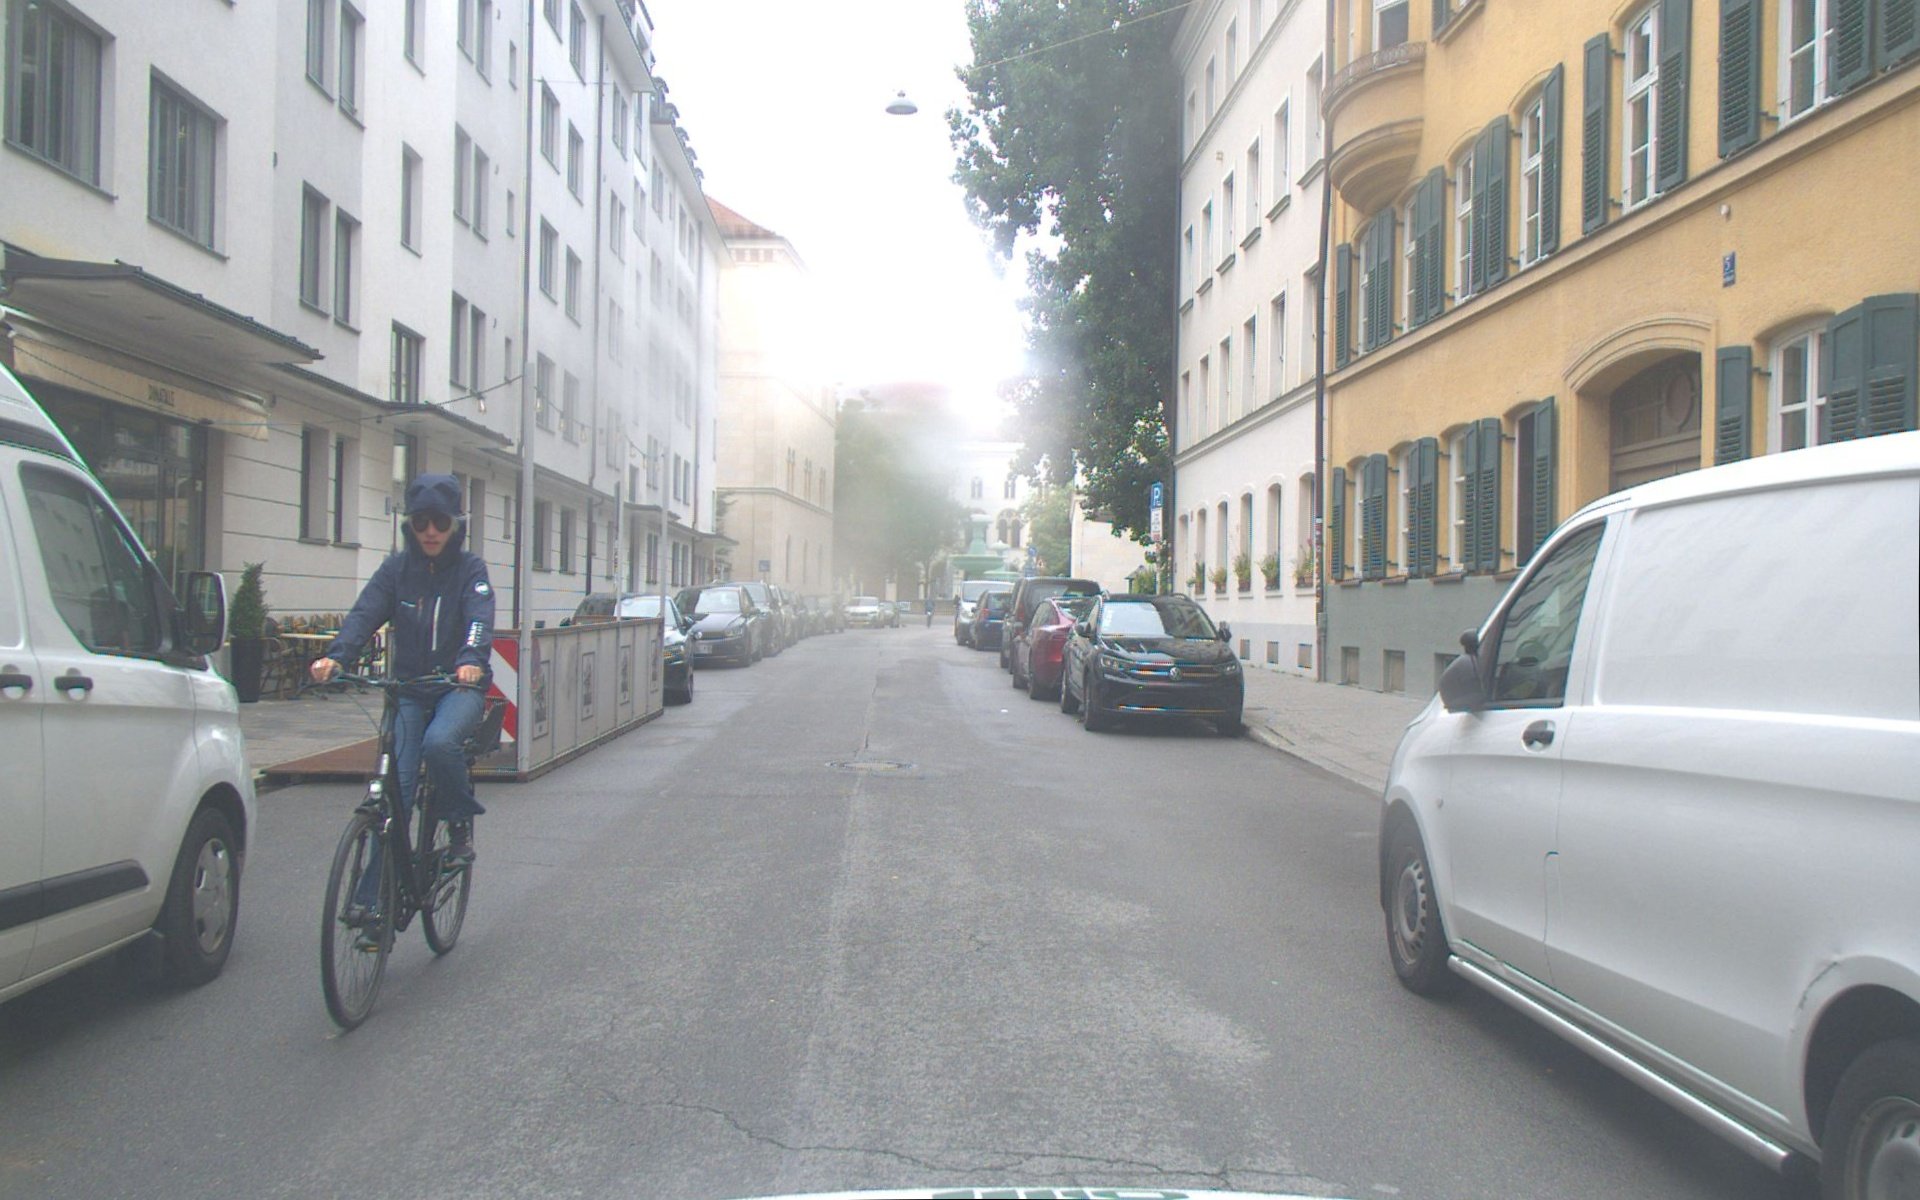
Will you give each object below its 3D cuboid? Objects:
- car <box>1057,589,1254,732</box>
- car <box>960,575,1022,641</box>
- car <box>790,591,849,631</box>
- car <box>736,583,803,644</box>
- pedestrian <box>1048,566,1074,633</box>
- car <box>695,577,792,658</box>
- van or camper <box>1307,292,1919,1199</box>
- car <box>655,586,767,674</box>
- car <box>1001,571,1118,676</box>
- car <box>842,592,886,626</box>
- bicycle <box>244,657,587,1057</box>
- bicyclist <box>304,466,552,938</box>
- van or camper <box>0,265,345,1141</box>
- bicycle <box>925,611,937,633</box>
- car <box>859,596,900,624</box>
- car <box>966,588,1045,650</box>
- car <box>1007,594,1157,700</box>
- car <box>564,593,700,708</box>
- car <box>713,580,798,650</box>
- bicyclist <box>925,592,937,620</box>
[{"bbox_3d":[2.182,0.622,19.433,1.711,1.489,3.998,0,0,-2],"label":"car"},{"bbox_3d":[0.927,0.244,51.683,1.843,1.958,4.874,0,0,0],"label":"car"},{"bbox_3d":[-5.531,0.416,65.547,1.714,1.479,4.017,-1,1,3],"label":"car"},{"bbox_3d":[-5.678,0.369,49.727,1.836,1.687,4.586,-1,1,-5],"label":"car"},{"bbox_3d":[3.433,-0.023,56.070,0.777,2.236,0.813,1,0,-3],"label":"pedestrian"},{"bbox_3d":[-4.952,0.348,38.354,1.835,1.717,4.518,-1,1,-3],"label":"car"},{"bbox_3d":[2.703,0.421,5.020,1.954,2.049,5.230,0,0,-3],"label":"van or camper"},{"bbox_3d":[-4.841,0.538,32.624,1.738,1.566,4.157,-1,1,-3],"label":"car"},{"bbox_3d":[1.836,0.432,31.662,1.809,1.807,4.199,2,0,-2],"label":"car"},{"bbox_3d":[-4.668,0.444,80.842,1.741,1.562,4.212,-1,-1,2],"label":"car"},{"bbox_3d":[-1.941,0.845,6.212,0.718,1.171,1.998,0,0,-3],"label":"bicycle"},{"bbox_3d":[-1.979,0.359,6.257,0.673,1.655,0.852,1,0,-4],"label":"bicyclist"},{"bbox_3d":[-3.552,0.273,4.434,1.953,2.351,5.476,0,0,-3],"label":"van or camper"},{"bbox_3d":[-1.633,1.239,92.660,0.635,1.218,1.950,0,0,0],"label":"bicycle"},{"bbox_3d":[-4.228,0.552,87.223,1.663,1.417,4.213,-1,-1,3],"label":"car"},{"bbox_3d":[1.214,0.495,45.737,1.772,1.628,4.212,1,0,-4],"label":"car"},{"bbox_3d":[1.737,0.641,24.912,1.679,1.449,4.454,0,0,-3],"label":"car"},{"bbox_3d":[-4.422,0.620,22.740,1.608,1.378,4.051,-1,1,-9],"label":"car"},{"bbox_3d":[-5.361,0.350,43.834,1.835,1.687,4.588,-1,1,-3],"label":"car"},{"bbox_3d":[-1.621,0.342,92.691,0.643,1.578,0.887,0,-1,0],"label":"bicyclist"}]
